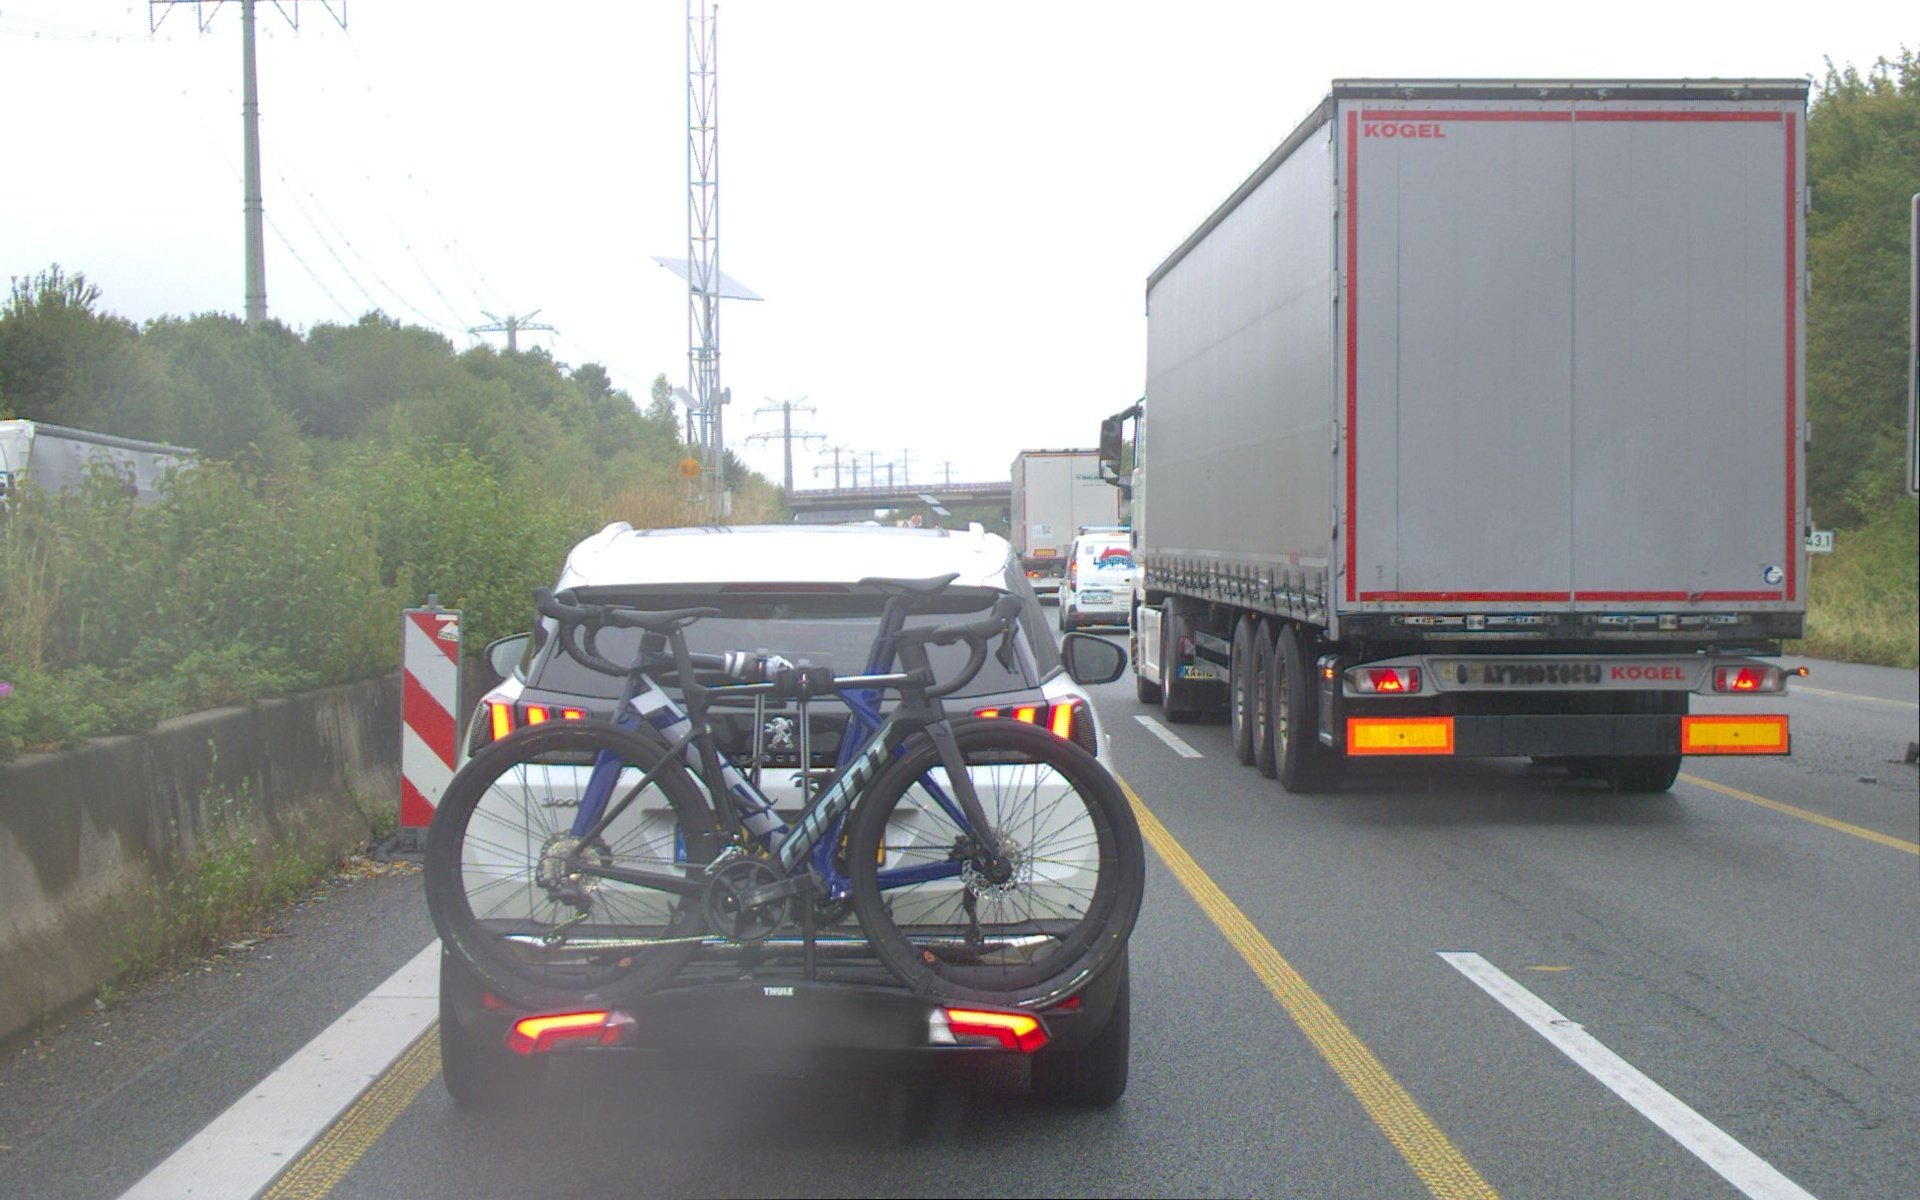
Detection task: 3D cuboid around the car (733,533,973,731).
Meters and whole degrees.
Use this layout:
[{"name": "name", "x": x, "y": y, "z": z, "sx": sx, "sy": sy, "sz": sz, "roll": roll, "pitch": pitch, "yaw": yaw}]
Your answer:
[{"name": "car", "x": -0.856, "y": 0.215, "z": 28.573, "sx": 1.850, "sy": 1.525, "sz": 4.000, "roll": 0, "pitch": 1, "yaw": -1}]

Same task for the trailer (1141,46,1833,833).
[{"name": "trailer", "x": 3.130, "y": -0.954, "z": 24.945, "sx": 2.706, "sy": 4.132, "sz": 13.733, "roll": 0, "pitch": 1, "yaw": -1}]

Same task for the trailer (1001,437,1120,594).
[{"name": "trailer", "x": 2.674, "y": -2.294, "z": 95.532, "sx": 2.692, "sy": 4.062, "sz": 13.634, "roll": 0, "pitch": 1, "yaw": -1}]

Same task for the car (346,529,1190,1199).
[{"name": "car", "x": -0.457, "y": 0.569, "z": 9.932, "sx": 1.850, "sy": 1.525, "sz": 4.769, "roll": 0, "pitch": 1, "yaw": -1}]

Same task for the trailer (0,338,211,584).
[{"name": "trailer", "x": -16.460, "y": -2.357, "z": 63.003, "sx": 2.785, "sy": 4.010, "sz": 13.252, "roll": -2, "pitch": 1, "yaw": -1}]

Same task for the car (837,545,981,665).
[{"name": "car", "x": -0.683, "y": 0.037, "z": 46.130, "sx": 1.850, "sy": 1.525, "sz": 4.000, "roll": 0, "pitch": 1, "yaw": -1}]

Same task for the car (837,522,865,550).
[{"name": "car", "x": -7.658, "y": -4.504, "z": 242.095, "sx": 1.931, "sy": 1.904, "sz": 4.001, "roll": 0, "pitch": 2, "yaw": -1}]

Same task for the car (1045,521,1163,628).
[{"name": "car", "x": 2.533, "y": -0.480, "z": 61.241, "sx": 1.829, "sy": 1.833, "sz": 4.656, "roll": 0, "pitch": 1, "yaw": -1}]

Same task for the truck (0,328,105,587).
[{"name": "truck", "x": -16.276, "y": -2.217, "z": 56.300, "sx": 2.785, "sy": 4.010, "sz": 7.234, "roll": -2, "pitch": 1, "yaw": -1}]

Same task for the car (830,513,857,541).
[{"name": "car", "x": -8.555, "y": -5.371, "z": 253.508, "sx": 1.931, "sy": 1.966, "sz": 4.001, "roll": 0, "pitch": 2, "yaw": -1}]

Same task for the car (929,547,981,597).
[{"name": "car", "x": -0.233, "y": -1.201, "z": 144.007, "sx": 2.110, "sy": 1.966, "sz": 4.001, "roll": 0, "pitch": 2, "yaw": -1}]

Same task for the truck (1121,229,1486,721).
[{"name": "truck", "x": 3.018, "y": -1.094, "z": 31.724, "sx": 2.706, "sy": 4.124, "sz": 5.691, "roll": 0, "pitch": 1, "yaw": -1}]

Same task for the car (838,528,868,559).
[{"name": "car", "x": -6.967, "y": -3.711, "z": 224.391, "sx": 1.931, "sy": 1.966, "sz": 4.001, "roll": 0, "pitch": 2, "yaw": -1}]

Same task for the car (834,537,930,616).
[{"name": "car", "x": -1.545, "y": -0.480, "z": 68.496, "sx": 1.850, "sy": 1.525, "sz": 4.000, "roll": 0, "pitch": 1, "yaw": -1}]
